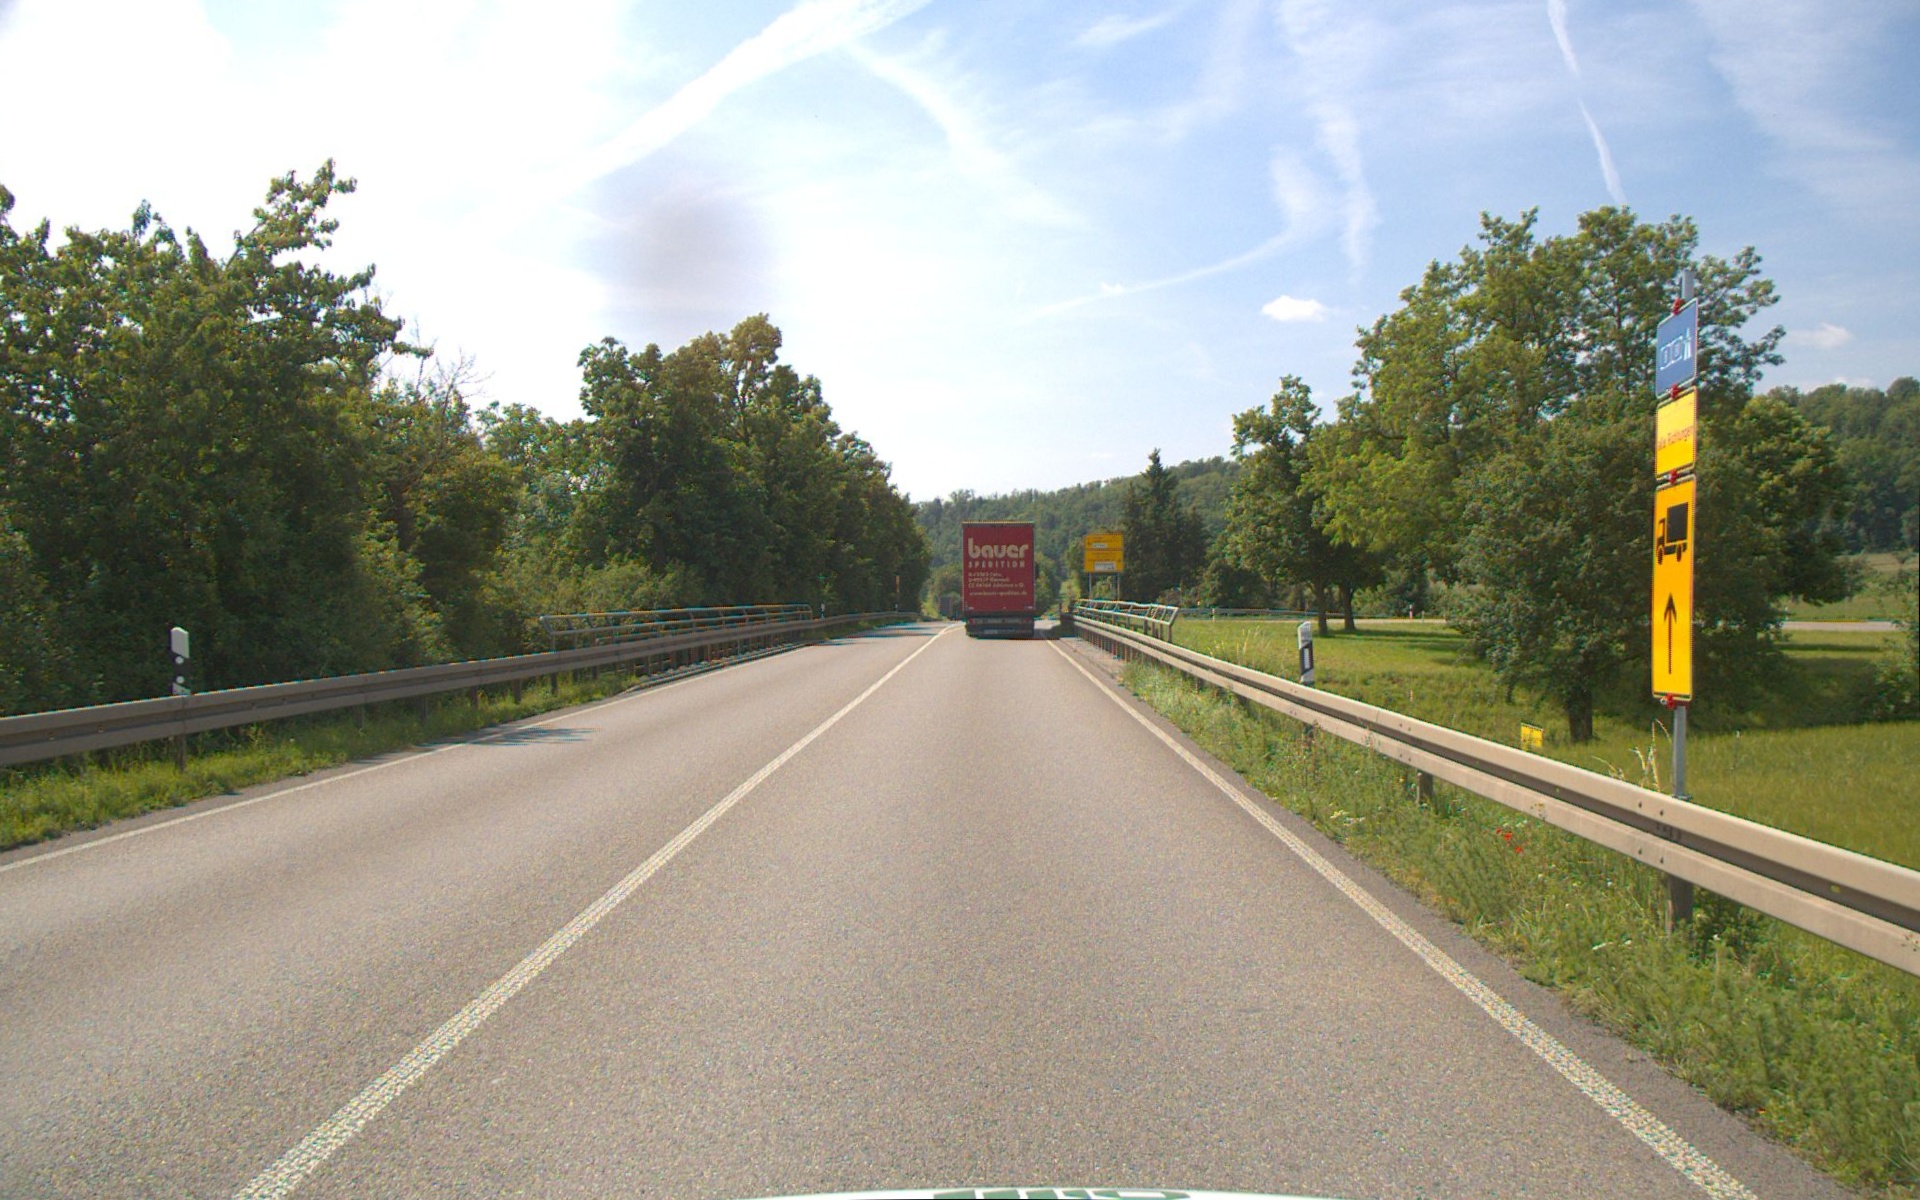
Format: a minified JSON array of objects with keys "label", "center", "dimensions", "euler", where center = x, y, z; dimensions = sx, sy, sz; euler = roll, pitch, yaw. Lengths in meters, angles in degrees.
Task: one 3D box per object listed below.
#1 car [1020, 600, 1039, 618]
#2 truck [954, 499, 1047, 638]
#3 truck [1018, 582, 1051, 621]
[{"label":"car","center":[7.453,0.964,177.789],"dimensions":[1.952,1.842,4.000],"euler":[2,-1,1]},{"label":"truck","center":[1.611,-1.103,63.494],"dimensions":[3.106,4.706,13.547],"euler":[-1,0,2]},{"label":"truck","center":[9.480,0.281,209.133],"dimensions":[3.823,4.446,13.297],"euler":[2,-1,4]}]
